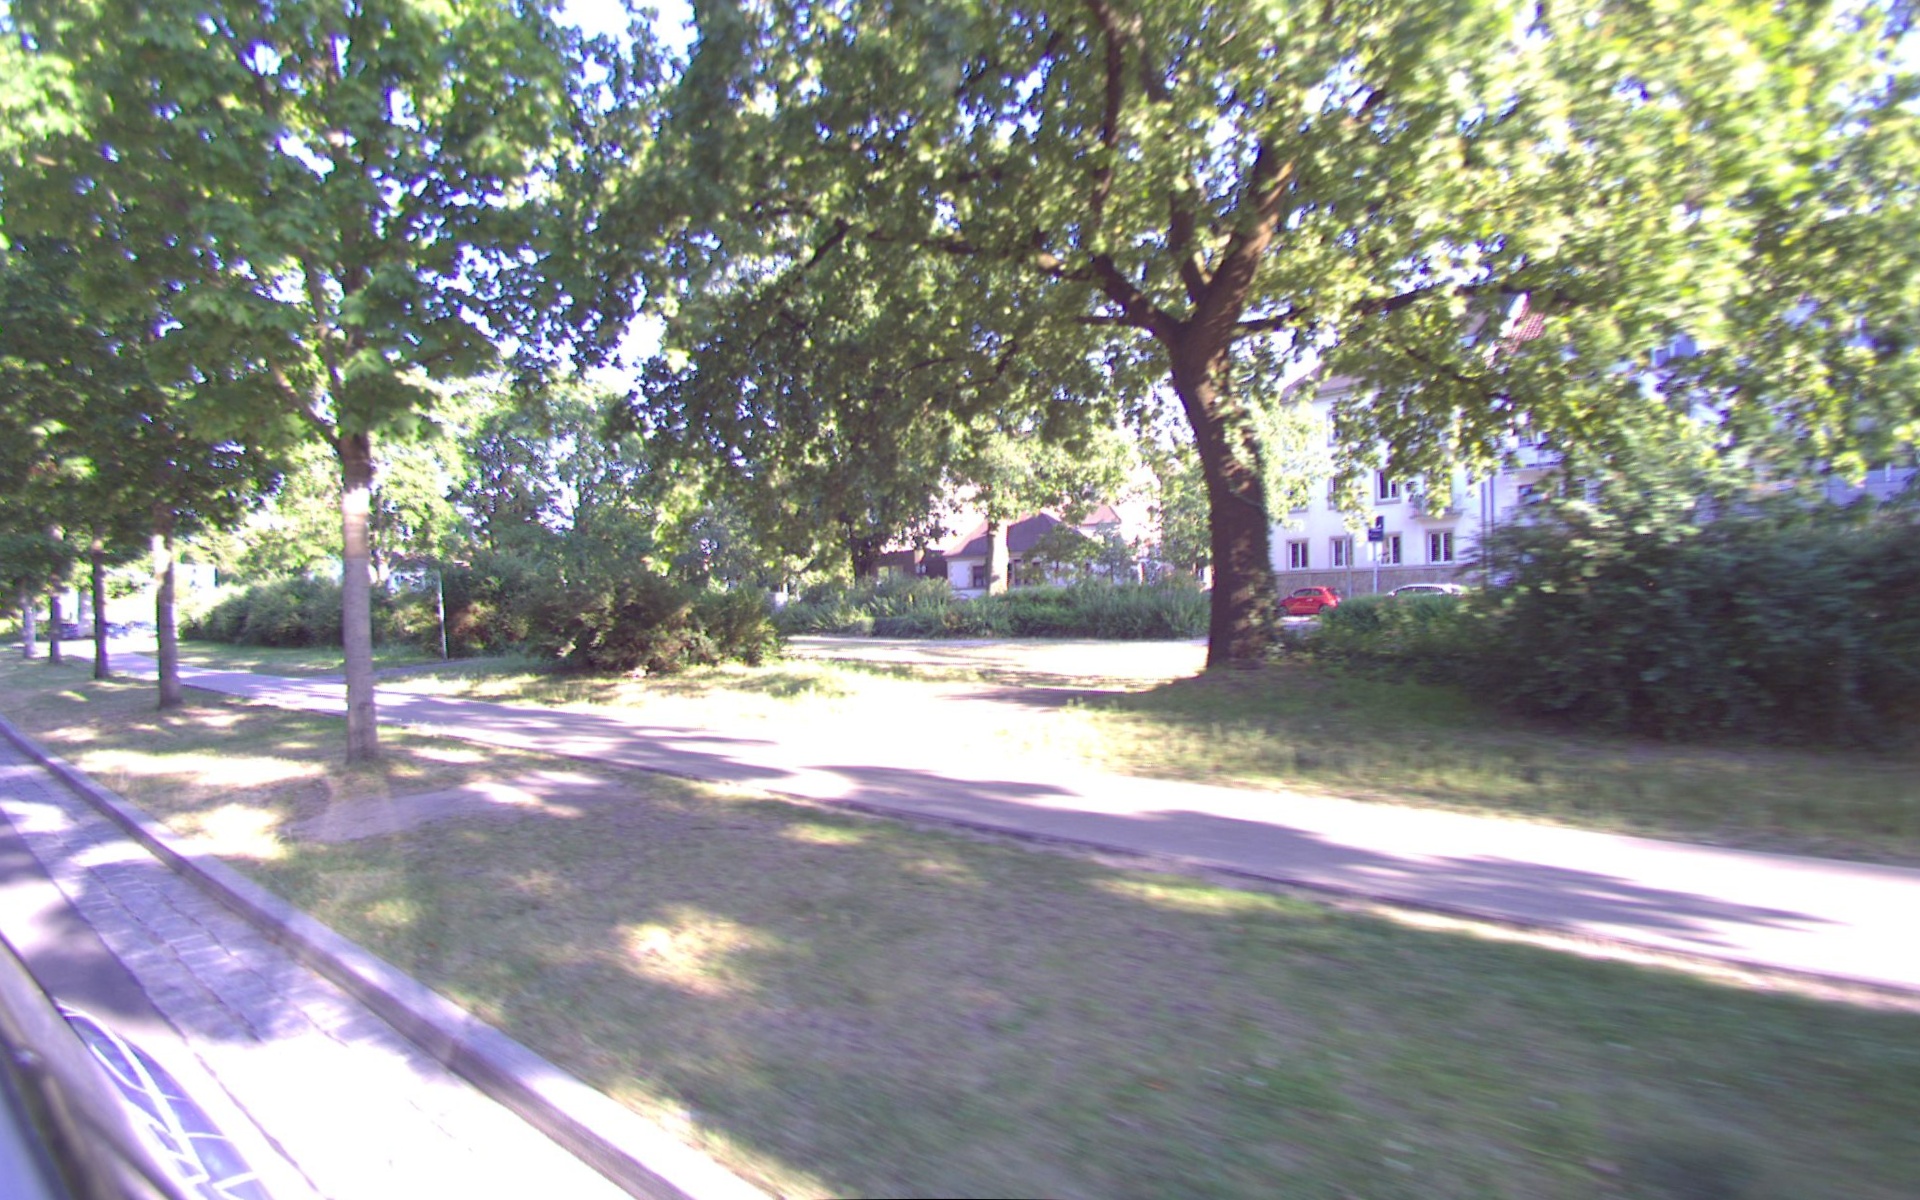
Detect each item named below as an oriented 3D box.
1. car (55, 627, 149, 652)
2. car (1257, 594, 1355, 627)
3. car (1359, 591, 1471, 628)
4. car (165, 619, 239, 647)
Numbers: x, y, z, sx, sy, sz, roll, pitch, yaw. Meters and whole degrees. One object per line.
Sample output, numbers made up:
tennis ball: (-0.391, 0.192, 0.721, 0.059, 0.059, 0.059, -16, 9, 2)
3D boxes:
car: (-61.093, 2.768, 72.144, 1.860, 1.570, 4.791, -2, -1, 29)
car: (17.293, 0.539, 50.738, 1.907, 1.593, 4.223, -1, 0, -40)
car: (20.783, 0.442, 46.358, 1.907, 1.593, 4.223, -1, 0, -40)
car: (-58.211, 2.517, 77.791, 1.755, 1.931, 4.197, -2, -1, 29)
